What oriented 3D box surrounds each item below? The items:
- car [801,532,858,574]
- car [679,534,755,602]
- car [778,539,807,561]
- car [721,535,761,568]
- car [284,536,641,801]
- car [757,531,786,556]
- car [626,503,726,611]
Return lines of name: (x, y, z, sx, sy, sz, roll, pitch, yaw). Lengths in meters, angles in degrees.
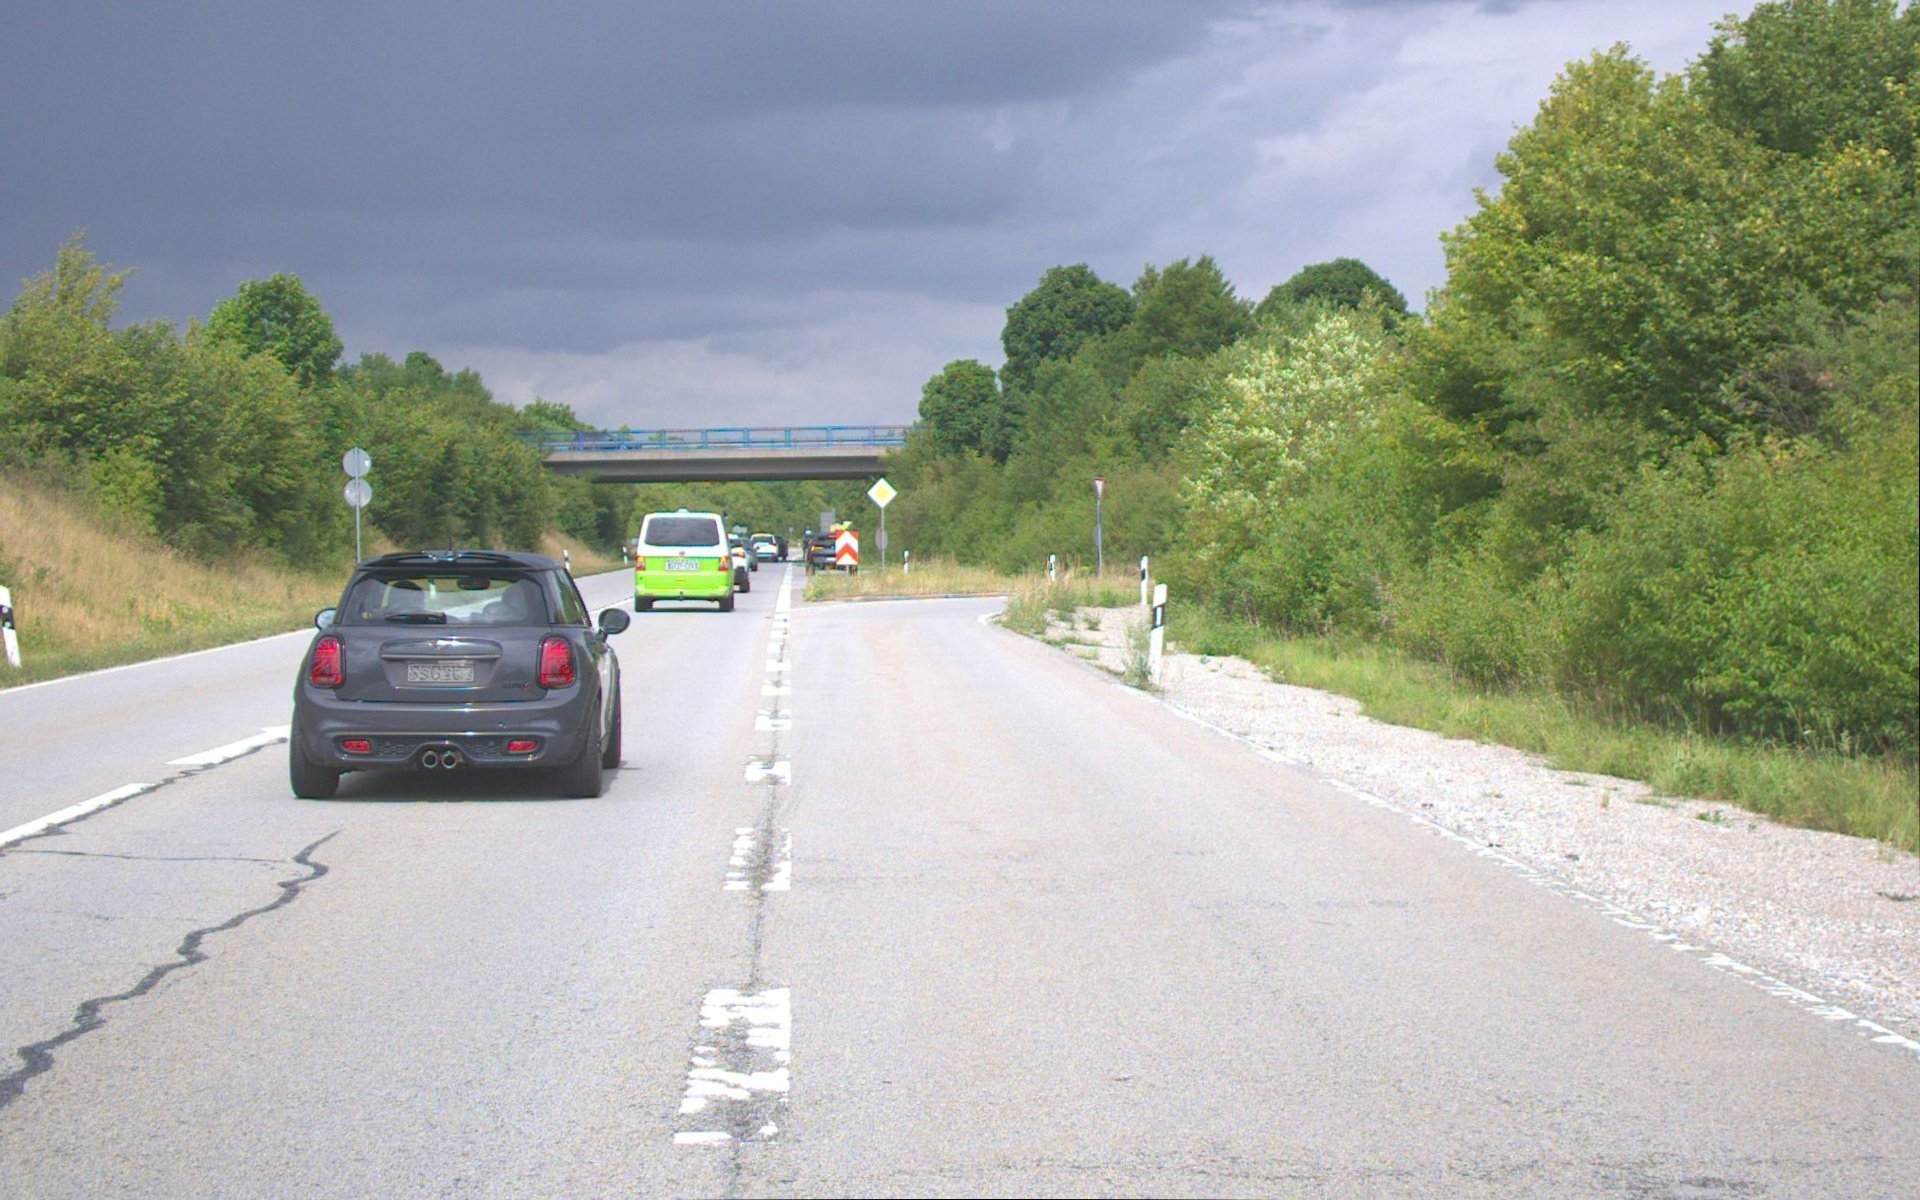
car: (-5.027, -1.811, 131.818, 1.993, 1.546, 4.001, 0, 1, -5)
car: (-6.418, -0.860, 91.155, 1.818, 1.744, 4.000, 0, 1, -1)
car: (-10.775, -3.229, 221.553, 1.667, 1.398, 4.000, 0, 1, 0)
car: (-9.426, -2.117, 148.290, 1.667, 1.398, 4.001, 0, 1, -3)
car: (-2.905, 0.340, 20.795, 1.756, 1.422, 4.001, 1, 1, -3)
car: (-10.921, -3.282, 199.572, 1.667, 1.398, 4.001, 0, 1, -2)
car: (-5.569, -0.857, 67.821, 1.819, 2.047, 4.001, 1, 1, -3)
